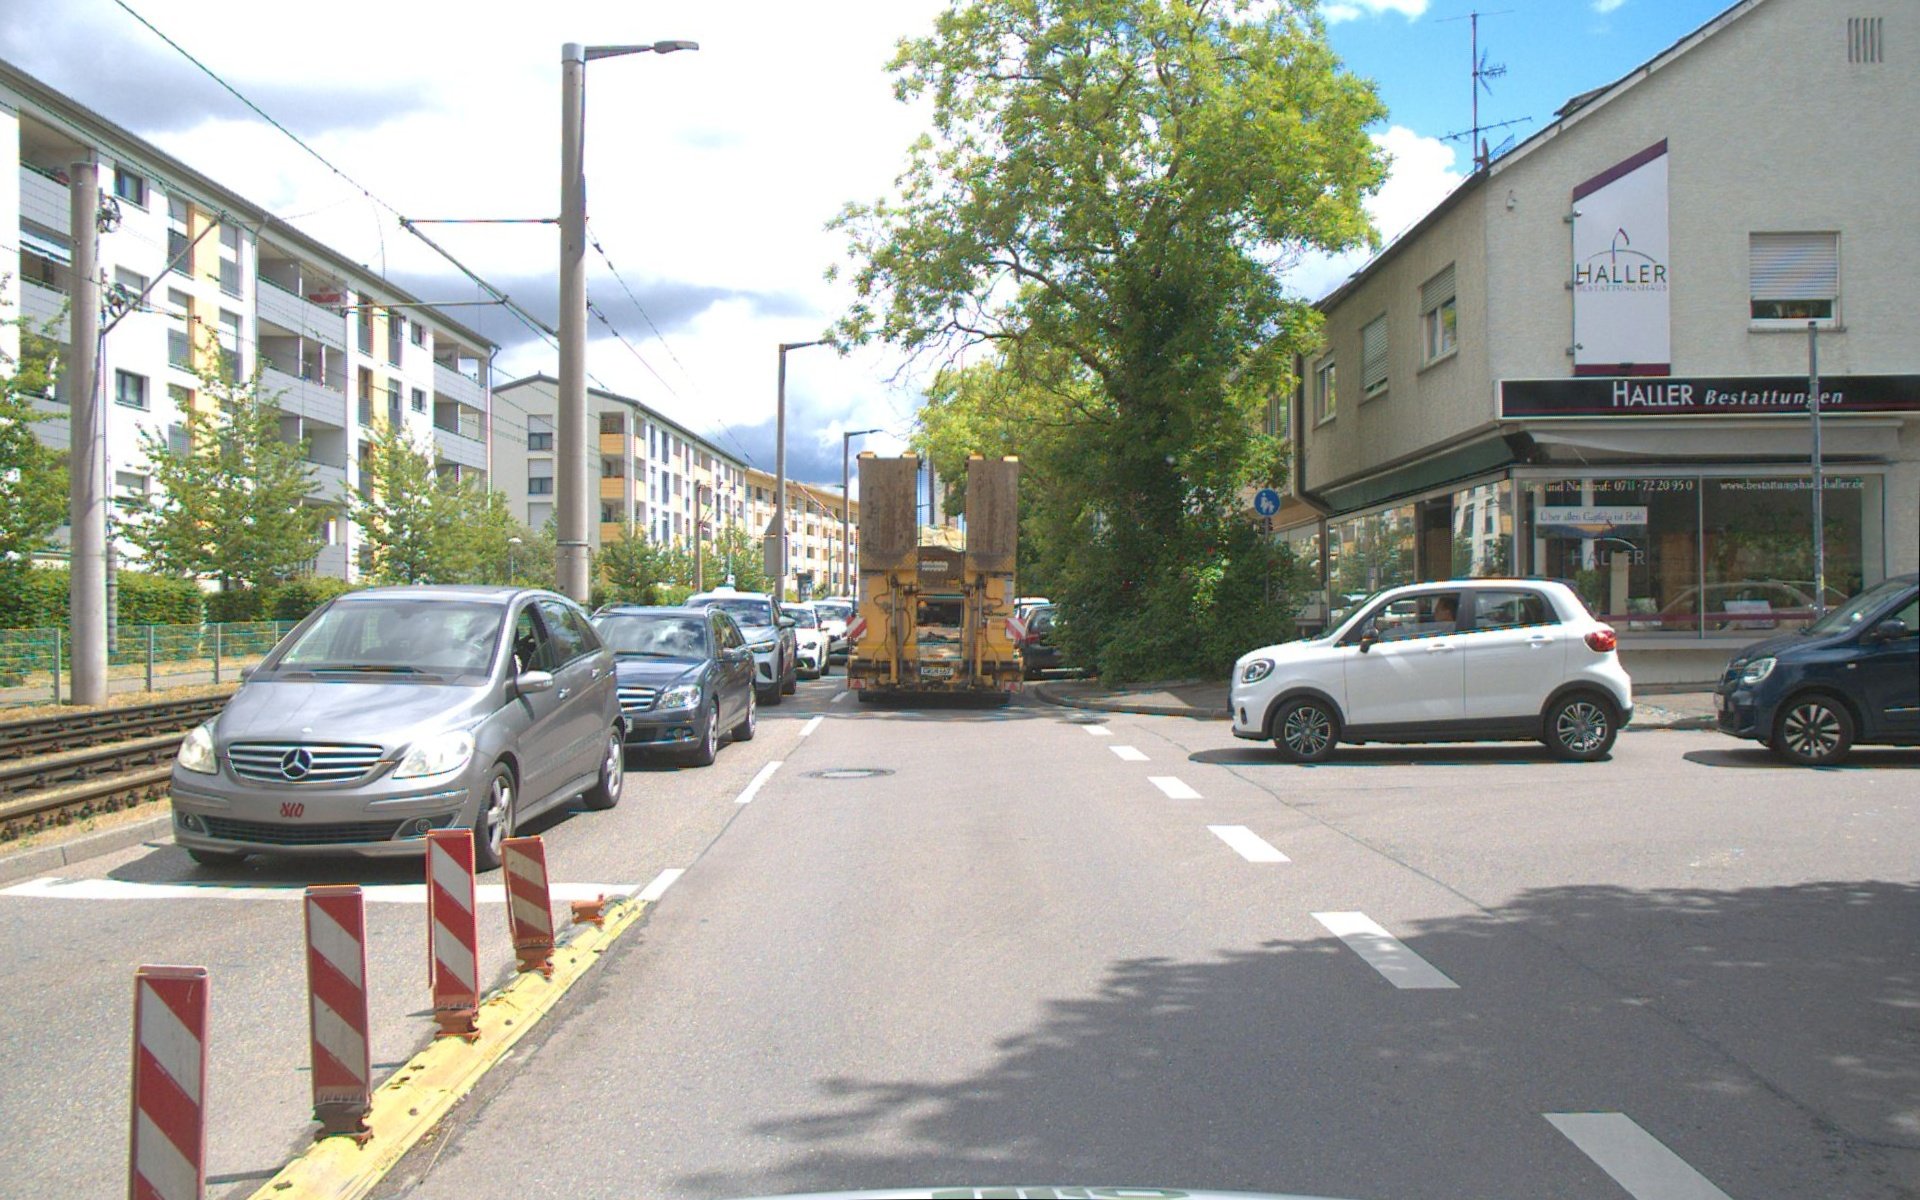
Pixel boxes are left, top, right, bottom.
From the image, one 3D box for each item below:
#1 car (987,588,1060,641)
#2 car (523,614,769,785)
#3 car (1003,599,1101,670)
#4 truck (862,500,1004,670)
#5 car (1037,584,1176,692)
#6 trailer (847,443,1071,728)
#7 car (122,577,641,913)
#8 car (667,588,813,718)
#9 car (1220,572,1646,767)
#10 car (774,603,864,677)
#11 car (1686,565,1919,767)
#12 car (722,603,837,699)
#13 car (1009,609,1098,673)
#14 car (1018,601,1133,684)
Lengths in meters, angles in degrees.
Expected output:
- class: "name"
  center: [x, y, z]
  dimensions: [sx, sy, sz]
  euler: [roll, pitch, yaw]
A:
- class: "car"
  center: [1.937, 0.416, 51.283]
  dimensions: [1.953, 1.411, 3.999]
  euler: [-2, 2, -2]
- class: "car"
  center: [-2.973, 0.885, 16.412]
  dimensions: [1.568, 1.405, 3.957]
  euler: [-2, 0, 1]
- class: "car"
  center: [2.136, 0.771, 39.337]
  dimensions: [1.953, 1.411, 3.999]
  euler: [-2, 2, -2]
- class: "truck"
  center: [-0.789, -0.427, 37.885]
  dimensions: [2.778, 3.388, 7.979]
  euler: [-2, 2, -4]
- class: "car"
  center: [2.517, 0.608, 29.306]
  dimensions: [1.953, 1.646, 3.999]
  euler: [-2, 2, -2]
- class: "trailer"
  center: [-0.368, -0.371, 28.730]
  dimensions: [2.990, 3.838, 11.605]
  euler: [-2, 2, -4]
- class: "car"
  center: [-3.397, 0.750, 10.626]
  dimensions: [1.765, 1.681, 4.132]
  euler: [-2, 0, 1]
- class: "car"
  center: [-3.256, 0.741, 25.178]
  dimensions: [1.568, 1.762, 3.939]
  euler: [-2, 0, 1]
- class: "car"
  center: [4.240, 0.610, 15.321]
  dimensions: [3.521, 1.612, 2.002]
  euler: [-2, 0, 10]
- class: "car"
  center: [-3.407, 0.944, 40.667]
  dimensions: [1.953, 1.546, 3.890]
  euler: [-2, 2, -2]
- class: "car"
  center: [8.245, 0.499, 13.943]
  dimensions: [3.619, 1.549, 2.002]
  euler: [-2, 2, 16]
- class: "car"
  center: [-3.577, 0.976, 33.342]
  dimensions: [1.953, 1.621, 3.890]
  euler: [-2, 2, -2]
- class: "car"
  center: [2.428, 1.058, 43.859]
  dimensions: [1.953, 1.411, 3.999]
  euler: [-2, 2, -2]
- class: "car"
  center: [2.319, 0.831, 34.196]
  dimensions: [1.953, 1.411, 3.999]
  euler: [-2, 2, -2]
